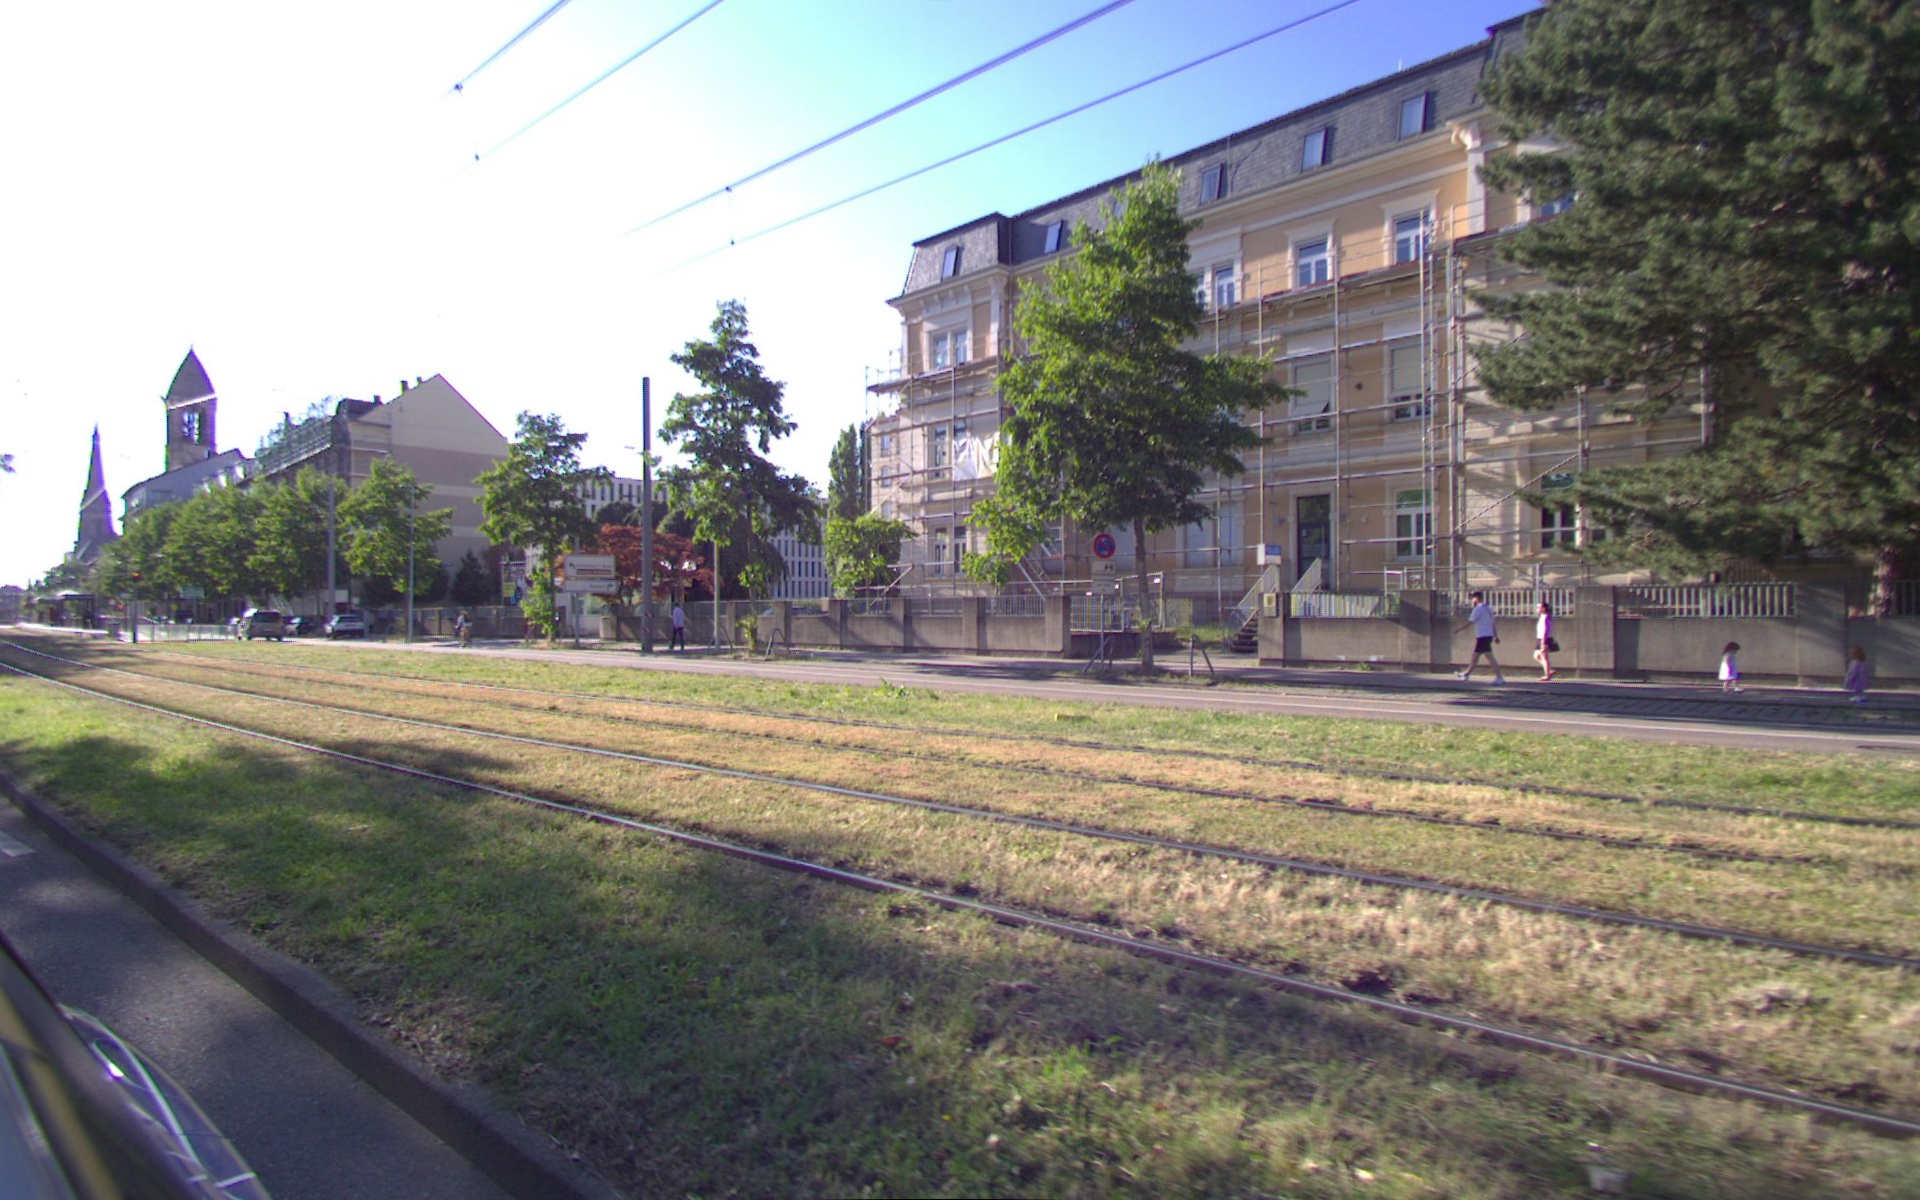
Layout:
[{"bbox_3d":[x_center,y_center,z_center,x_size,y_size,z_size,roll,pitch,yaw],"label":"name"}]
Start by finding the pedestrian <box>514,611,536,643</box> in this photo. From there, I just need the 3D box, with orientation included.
[{"bbox_3d":[-22.831,1.404,53.137,0.812,1.660,0.717,-1,-2,38],"label":"pedestrian"}]

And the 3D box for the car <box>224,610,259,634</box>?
[{"bbox_3d":[-63.166,1.919,88.949,1.970,2.029,4.003,-2,1,-44],"label":"car"}]

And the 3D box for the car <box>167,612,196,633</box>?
[{"bbox_3d":[-84.225,2.447,109.525,3.786,2.182,1.919,-1,1,44],"label":"car"}]

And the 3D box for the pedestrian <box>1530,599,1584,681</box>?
[{"bbox_3d":[11.613,0.763,19.684,0.783,1.551,0.642,-1,-2,43],"label":"pedestrian"}]

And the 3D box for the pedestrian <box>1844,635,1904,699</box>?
[{"bbox_3d":[13.921,1.014,15.414,0.642,0.939,0.586,2,-2,-41],"label":"pedestrian"}]

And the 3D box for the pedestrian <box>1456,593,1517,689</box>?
[{"bbox_3d":[10.066,0.780,19.349,0.888,1.789,0.642,-1,-2,43],"label":"pedestrian"}]

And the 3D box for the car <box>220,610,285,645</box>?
[{"bbox_3d":[-42.398,1.629,60.625,4.466,1.933,1.921,0,2,37],"label":"car"}]

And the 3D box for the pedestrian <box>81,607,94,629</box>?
[{"bbox_3d":[-66.914,1.364,77.591,0.654,1.703,0.672,-1,1,42],"label":"pedestrian"}]

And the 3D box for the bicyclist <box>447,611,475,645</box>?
[{"bbox_3d":[-22.704,1.263,46.005,1.134,1.492,0.766,-1,1,44],"label":"bicyclist"}]

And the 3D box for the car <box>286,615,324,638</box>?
[{"bbox_3d":[-48.302,1.910,74.596,1.700,1.598,4.070,-2,1,-41],"label":"car"}]

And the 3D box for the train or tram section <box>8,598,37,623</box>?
[{"bbox_3d":[-146.984,1.671,158.647,9.688,3.713,2.837,-1,-1,45],"label":"train or tram section"}]

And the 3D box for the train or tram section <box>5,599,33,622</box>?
[{"bbox_3d":[-155.559,1.759,167.203,14.567,3.713,2.837,-1,-1,45],"label":"train or tram section"}]

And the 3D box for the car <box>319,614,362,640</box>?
[{"bbox_3d":[-40.794,1.733,66.645,1.700,1.598,4.070,-2,1,-41],"label":"car"}]

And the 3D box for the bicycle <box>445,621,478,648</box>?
[{"bbox_3d":[-22.662,1.554,45.968,1.756,1.202,0.766,-1,1,44],"label":"bicycle"}]

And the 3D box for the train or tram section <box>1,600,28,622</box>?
[{"bbox_3d":[-165.876,1.902,177.460,14.567,3.703,2.837,-1,-1,45],"label":"train or tram section"}]

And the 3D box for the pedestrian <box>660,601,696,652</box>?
[{"bbox_3d":[-10.935,1.010,39.226,1.086,1.942,0.848,-1,-2,43],"label":"pedestrian"}]

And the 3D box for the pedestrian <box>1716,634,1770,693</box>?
[{"bbox_3d":[12.942,1.040,16.732,0.642,0.939,0.586,2,-2,-41],"label":"pedestrian"}]
